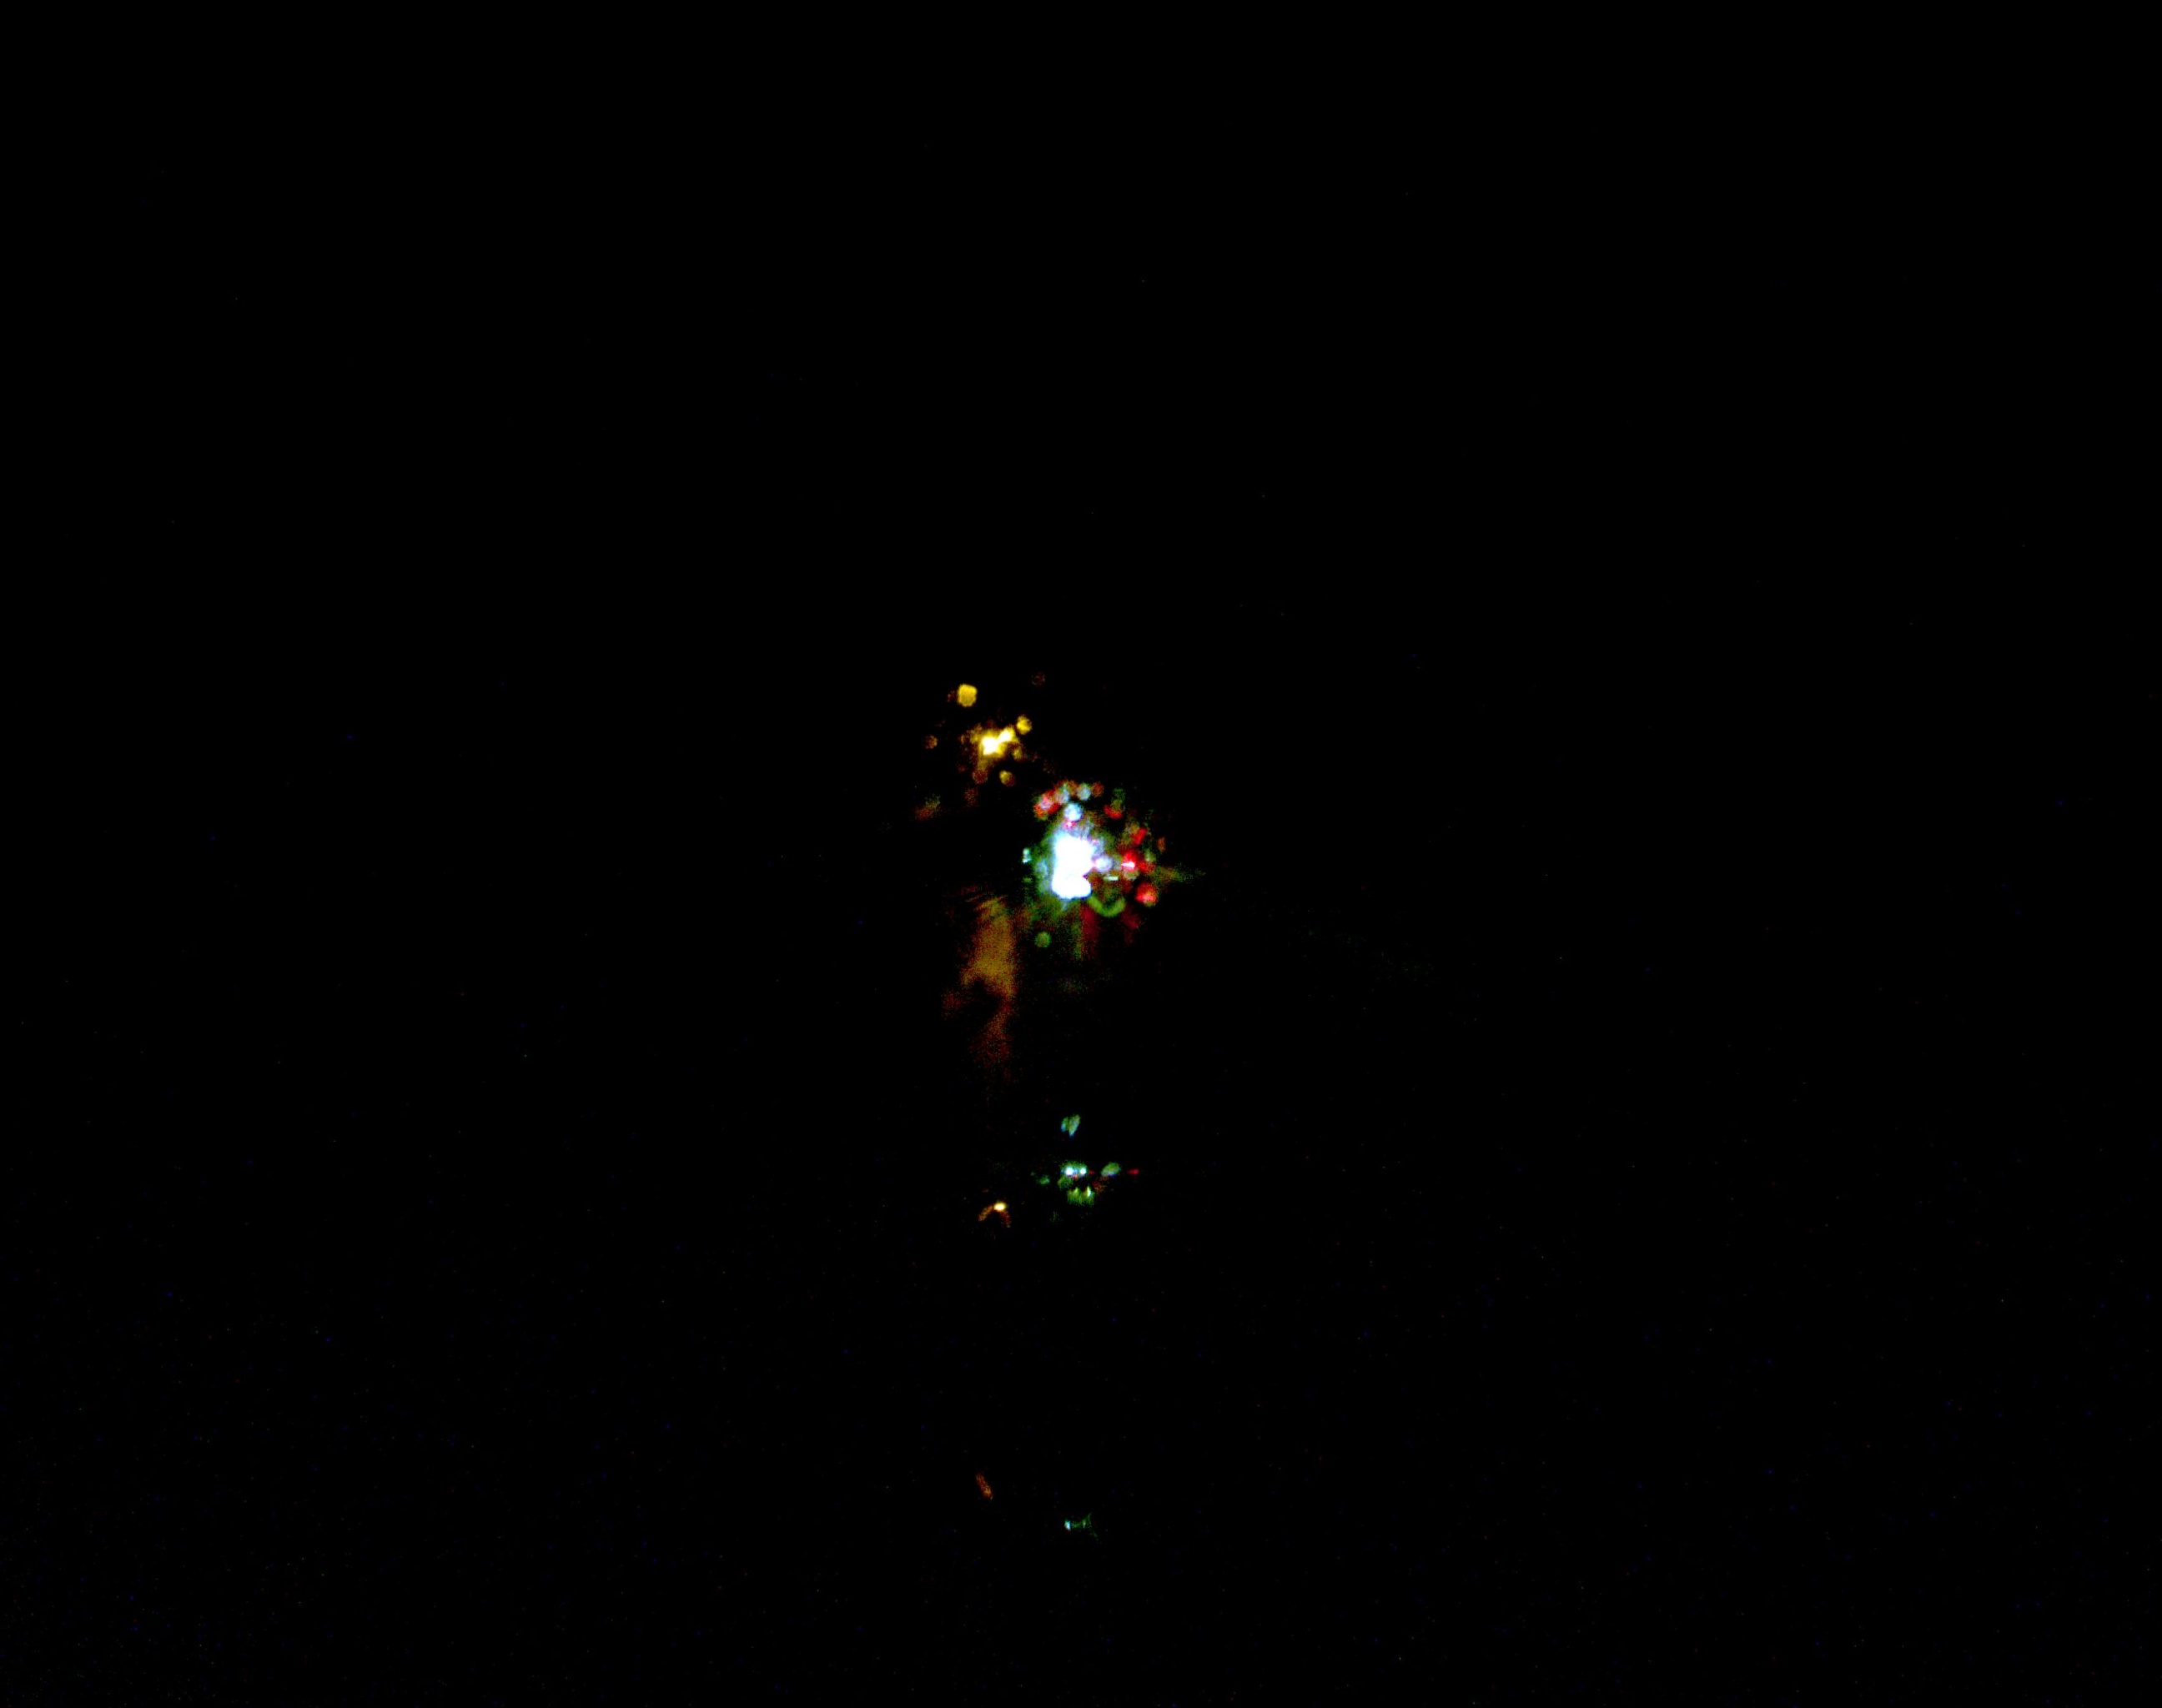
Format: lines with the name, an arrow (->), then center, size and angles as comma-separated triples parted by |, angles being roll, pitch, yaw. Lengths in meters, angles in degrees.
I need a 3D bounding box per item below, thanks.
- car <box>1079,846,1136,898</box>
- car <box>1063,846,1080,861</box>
car -> 0.916, 0.582, 28.032 | 1.794, 1.628, 3.617 | 1, -1, 2
car -> -0.955, -0.053, 87.892 | 1.726, 1.518, 4.016 | 0, 0, 1
